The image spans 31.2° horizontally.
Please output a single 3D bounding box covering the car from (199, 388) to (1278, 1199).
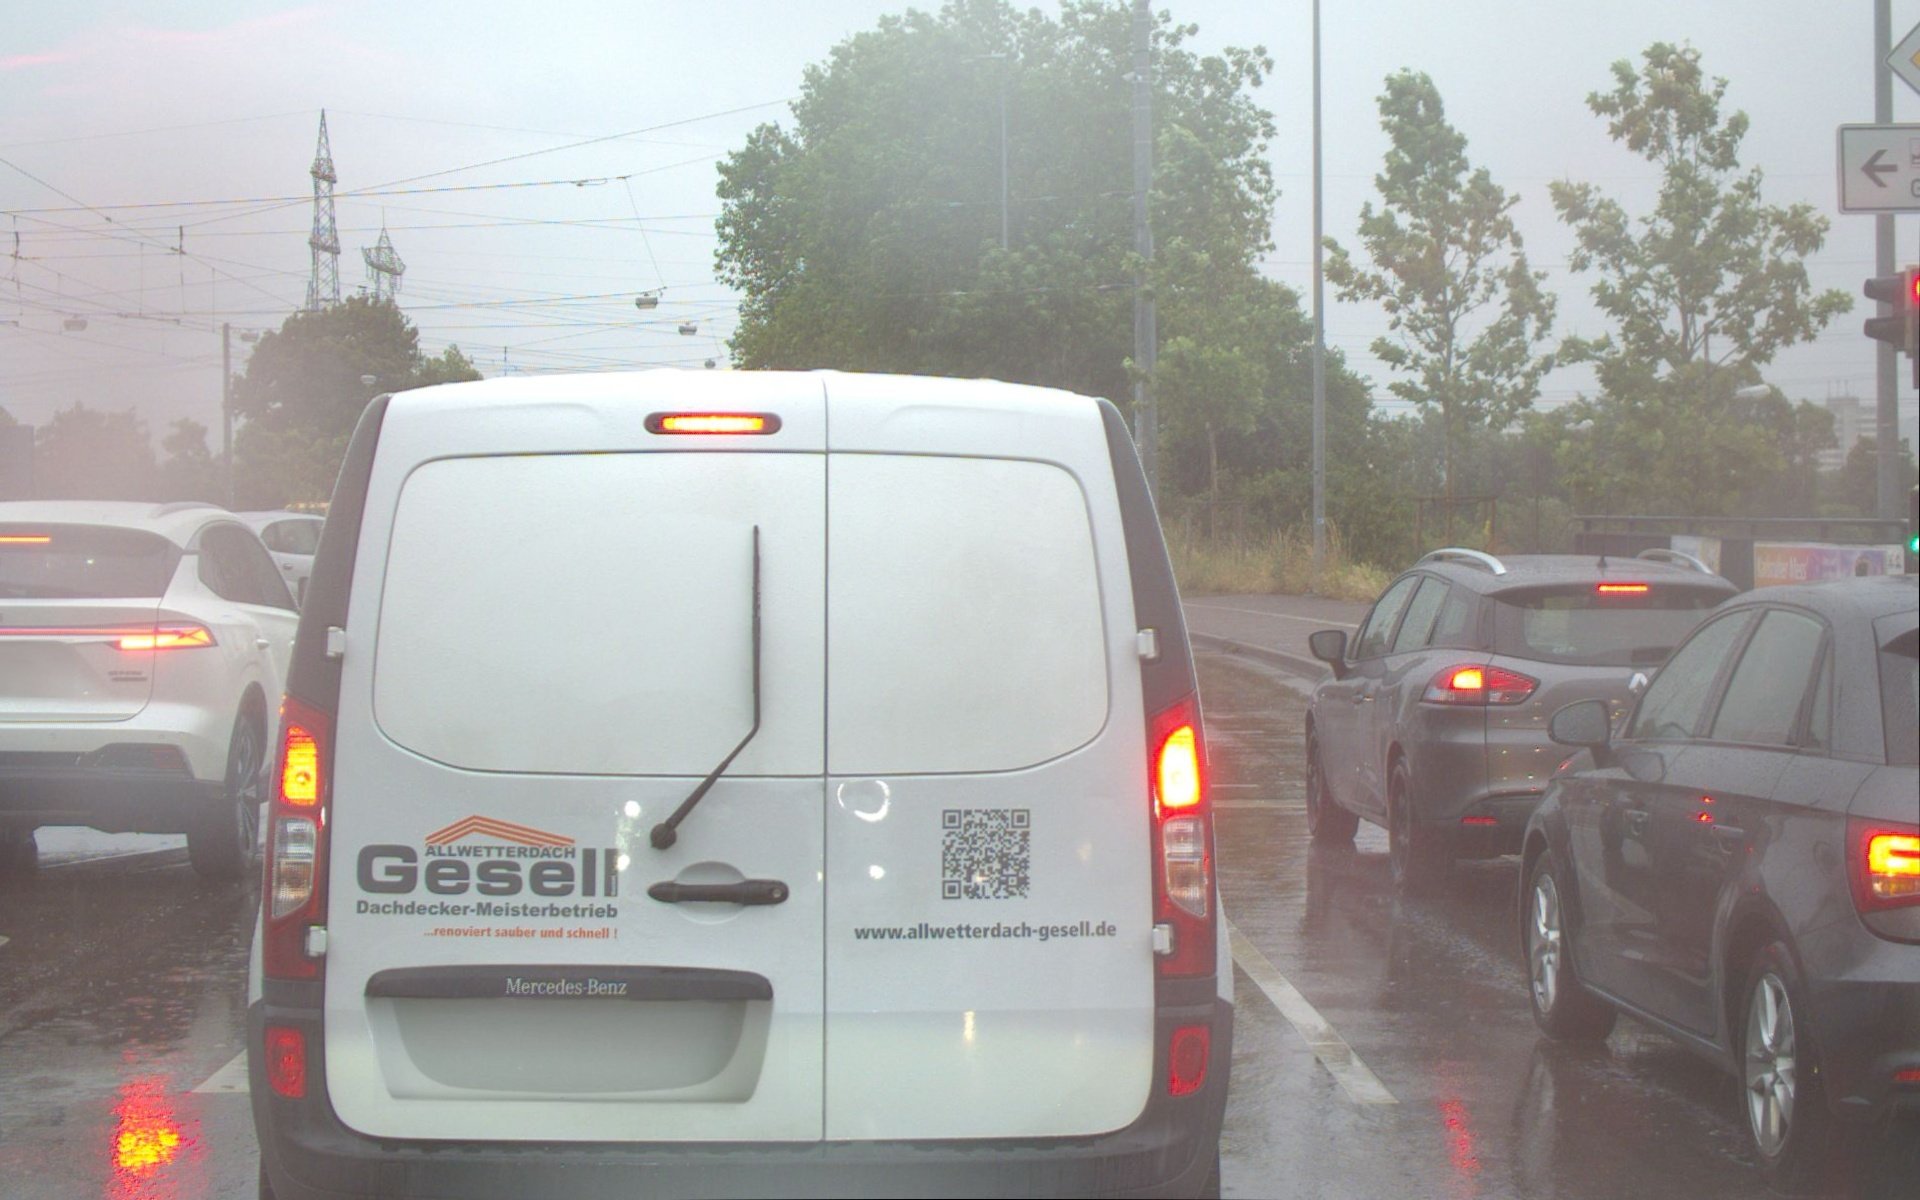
[{"bbox_3d":[-0.506,0.473,7.720,1.754,1.744,4.170,1,2,-4],"label":"car"}]

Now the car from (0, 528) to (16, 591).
[{"bbox_3d":[-22.536,-0.950,77.411,1.559,1.421,3.569,2,0,-1],"label":"car"}]

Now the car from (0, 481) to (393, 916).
[{"bbox_3d":[-4.051,0.362,16.423,1.930,1.769,4.664,1,1,-1],"label":"car"}]

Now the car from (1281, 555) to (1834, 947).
[{"bbox_3d":[2.534,0.570,15.483,1.684,1.503,3.921,1,1,-1],"label":"car"}]

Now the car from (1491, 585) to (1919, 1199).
[{"bbox_3d":[2.530,0.647,8.964,1.597,1.362,3.631,-1,0,-2],"label":"car"}]

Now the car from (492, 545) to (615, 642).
[{"bbox_3d":[-6.989,-0.128,59.424,1.634,1.517,3.775,3,0,-1],"label":"car"}]
